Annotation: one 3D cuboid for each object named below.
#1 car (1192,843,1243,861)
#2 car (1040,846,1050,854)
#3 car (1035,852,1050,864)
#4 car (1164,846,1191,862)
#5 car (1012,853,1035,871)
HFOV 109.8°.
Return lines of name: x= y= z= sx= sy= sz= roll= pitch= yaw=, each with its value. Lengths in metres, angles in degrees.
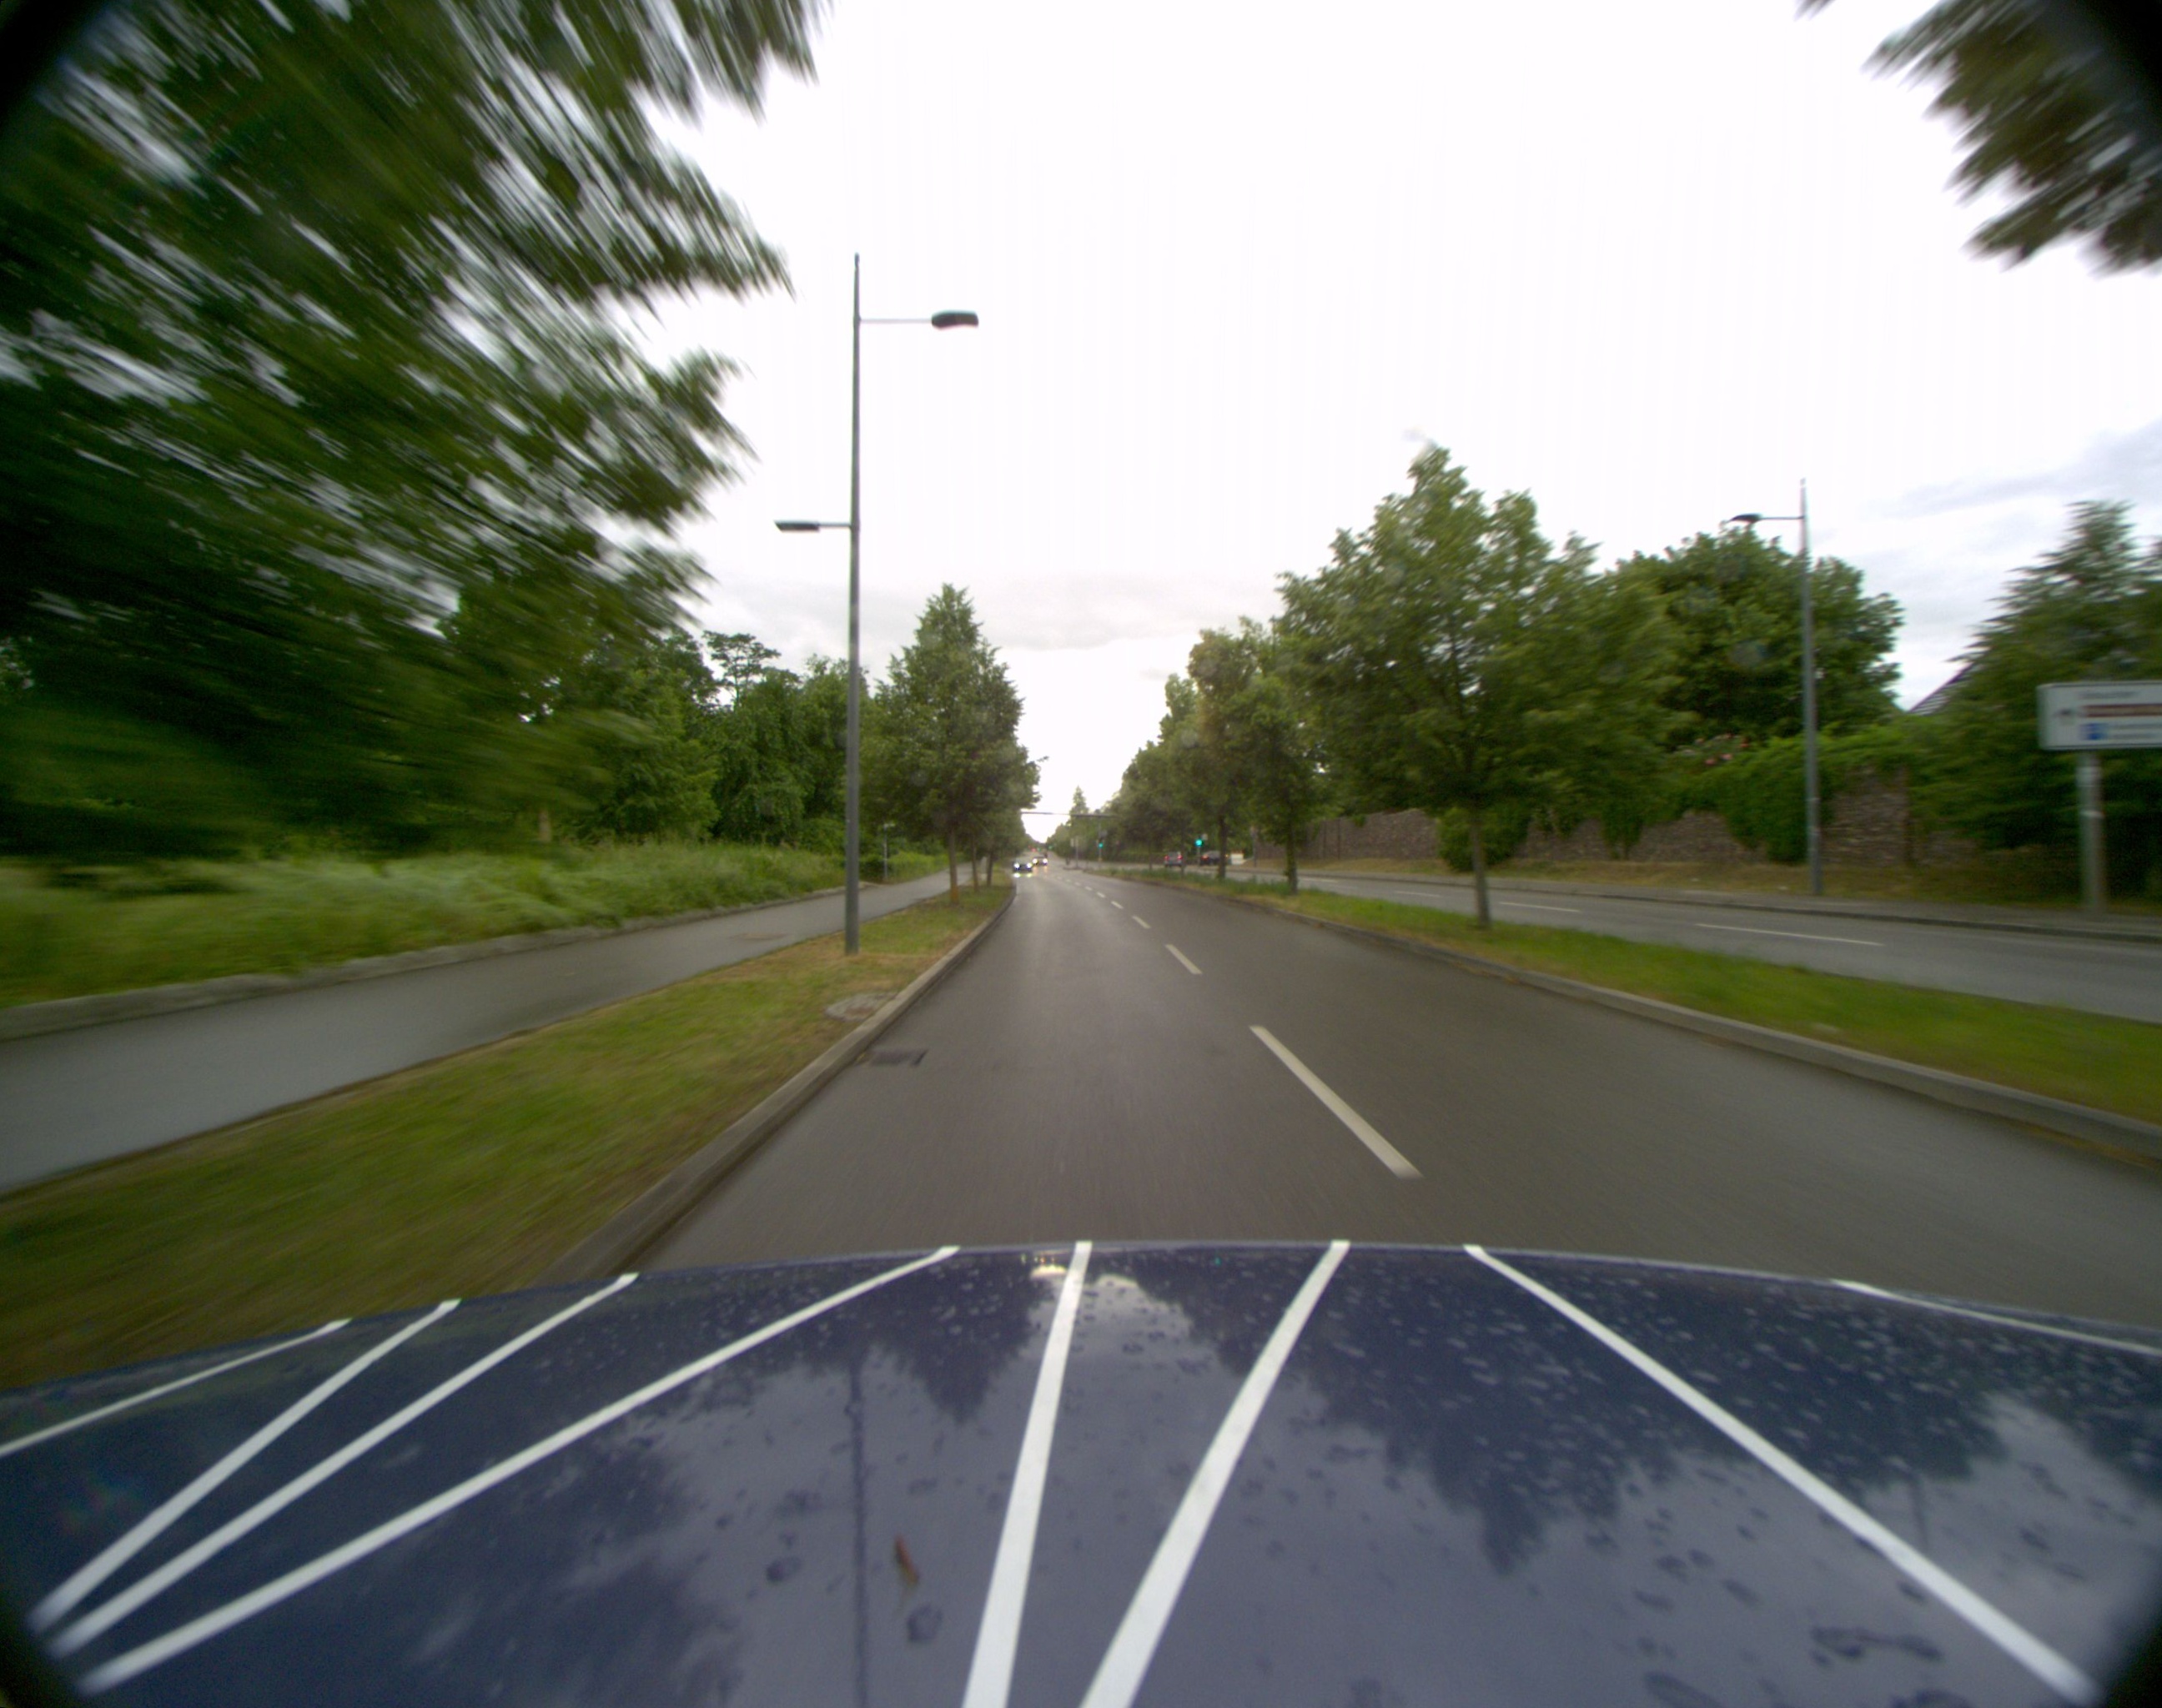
car: x=14.144 y=-0.222 z=78.673 sx=4.770 sy=1.586 sz=1.884 roll=-2 pitch=1 yaw=-18
car: x=-8.550 y=-0.959 z=181.263 sx=2.020 sy=1.908 sz=5.092 roll=-1 pitch=1 yaw=-6
car: x=-5.176 y=0.515 z=101.720 sx=1.825 sy=1.548 sz=3.997 roll=-1 pitch=1 yaw=-7
car: x=9.465 y=0.023 z=74.312 sx=1.687 sy=1.530 sz=2.921 roll=-2 pitch=0 yaw=29
car: x=-5.569 y=0.730 z=73.703 sx=1.826 sy=1.548 sz=3.996 roll=-1 pitch=1 yaw=-9
